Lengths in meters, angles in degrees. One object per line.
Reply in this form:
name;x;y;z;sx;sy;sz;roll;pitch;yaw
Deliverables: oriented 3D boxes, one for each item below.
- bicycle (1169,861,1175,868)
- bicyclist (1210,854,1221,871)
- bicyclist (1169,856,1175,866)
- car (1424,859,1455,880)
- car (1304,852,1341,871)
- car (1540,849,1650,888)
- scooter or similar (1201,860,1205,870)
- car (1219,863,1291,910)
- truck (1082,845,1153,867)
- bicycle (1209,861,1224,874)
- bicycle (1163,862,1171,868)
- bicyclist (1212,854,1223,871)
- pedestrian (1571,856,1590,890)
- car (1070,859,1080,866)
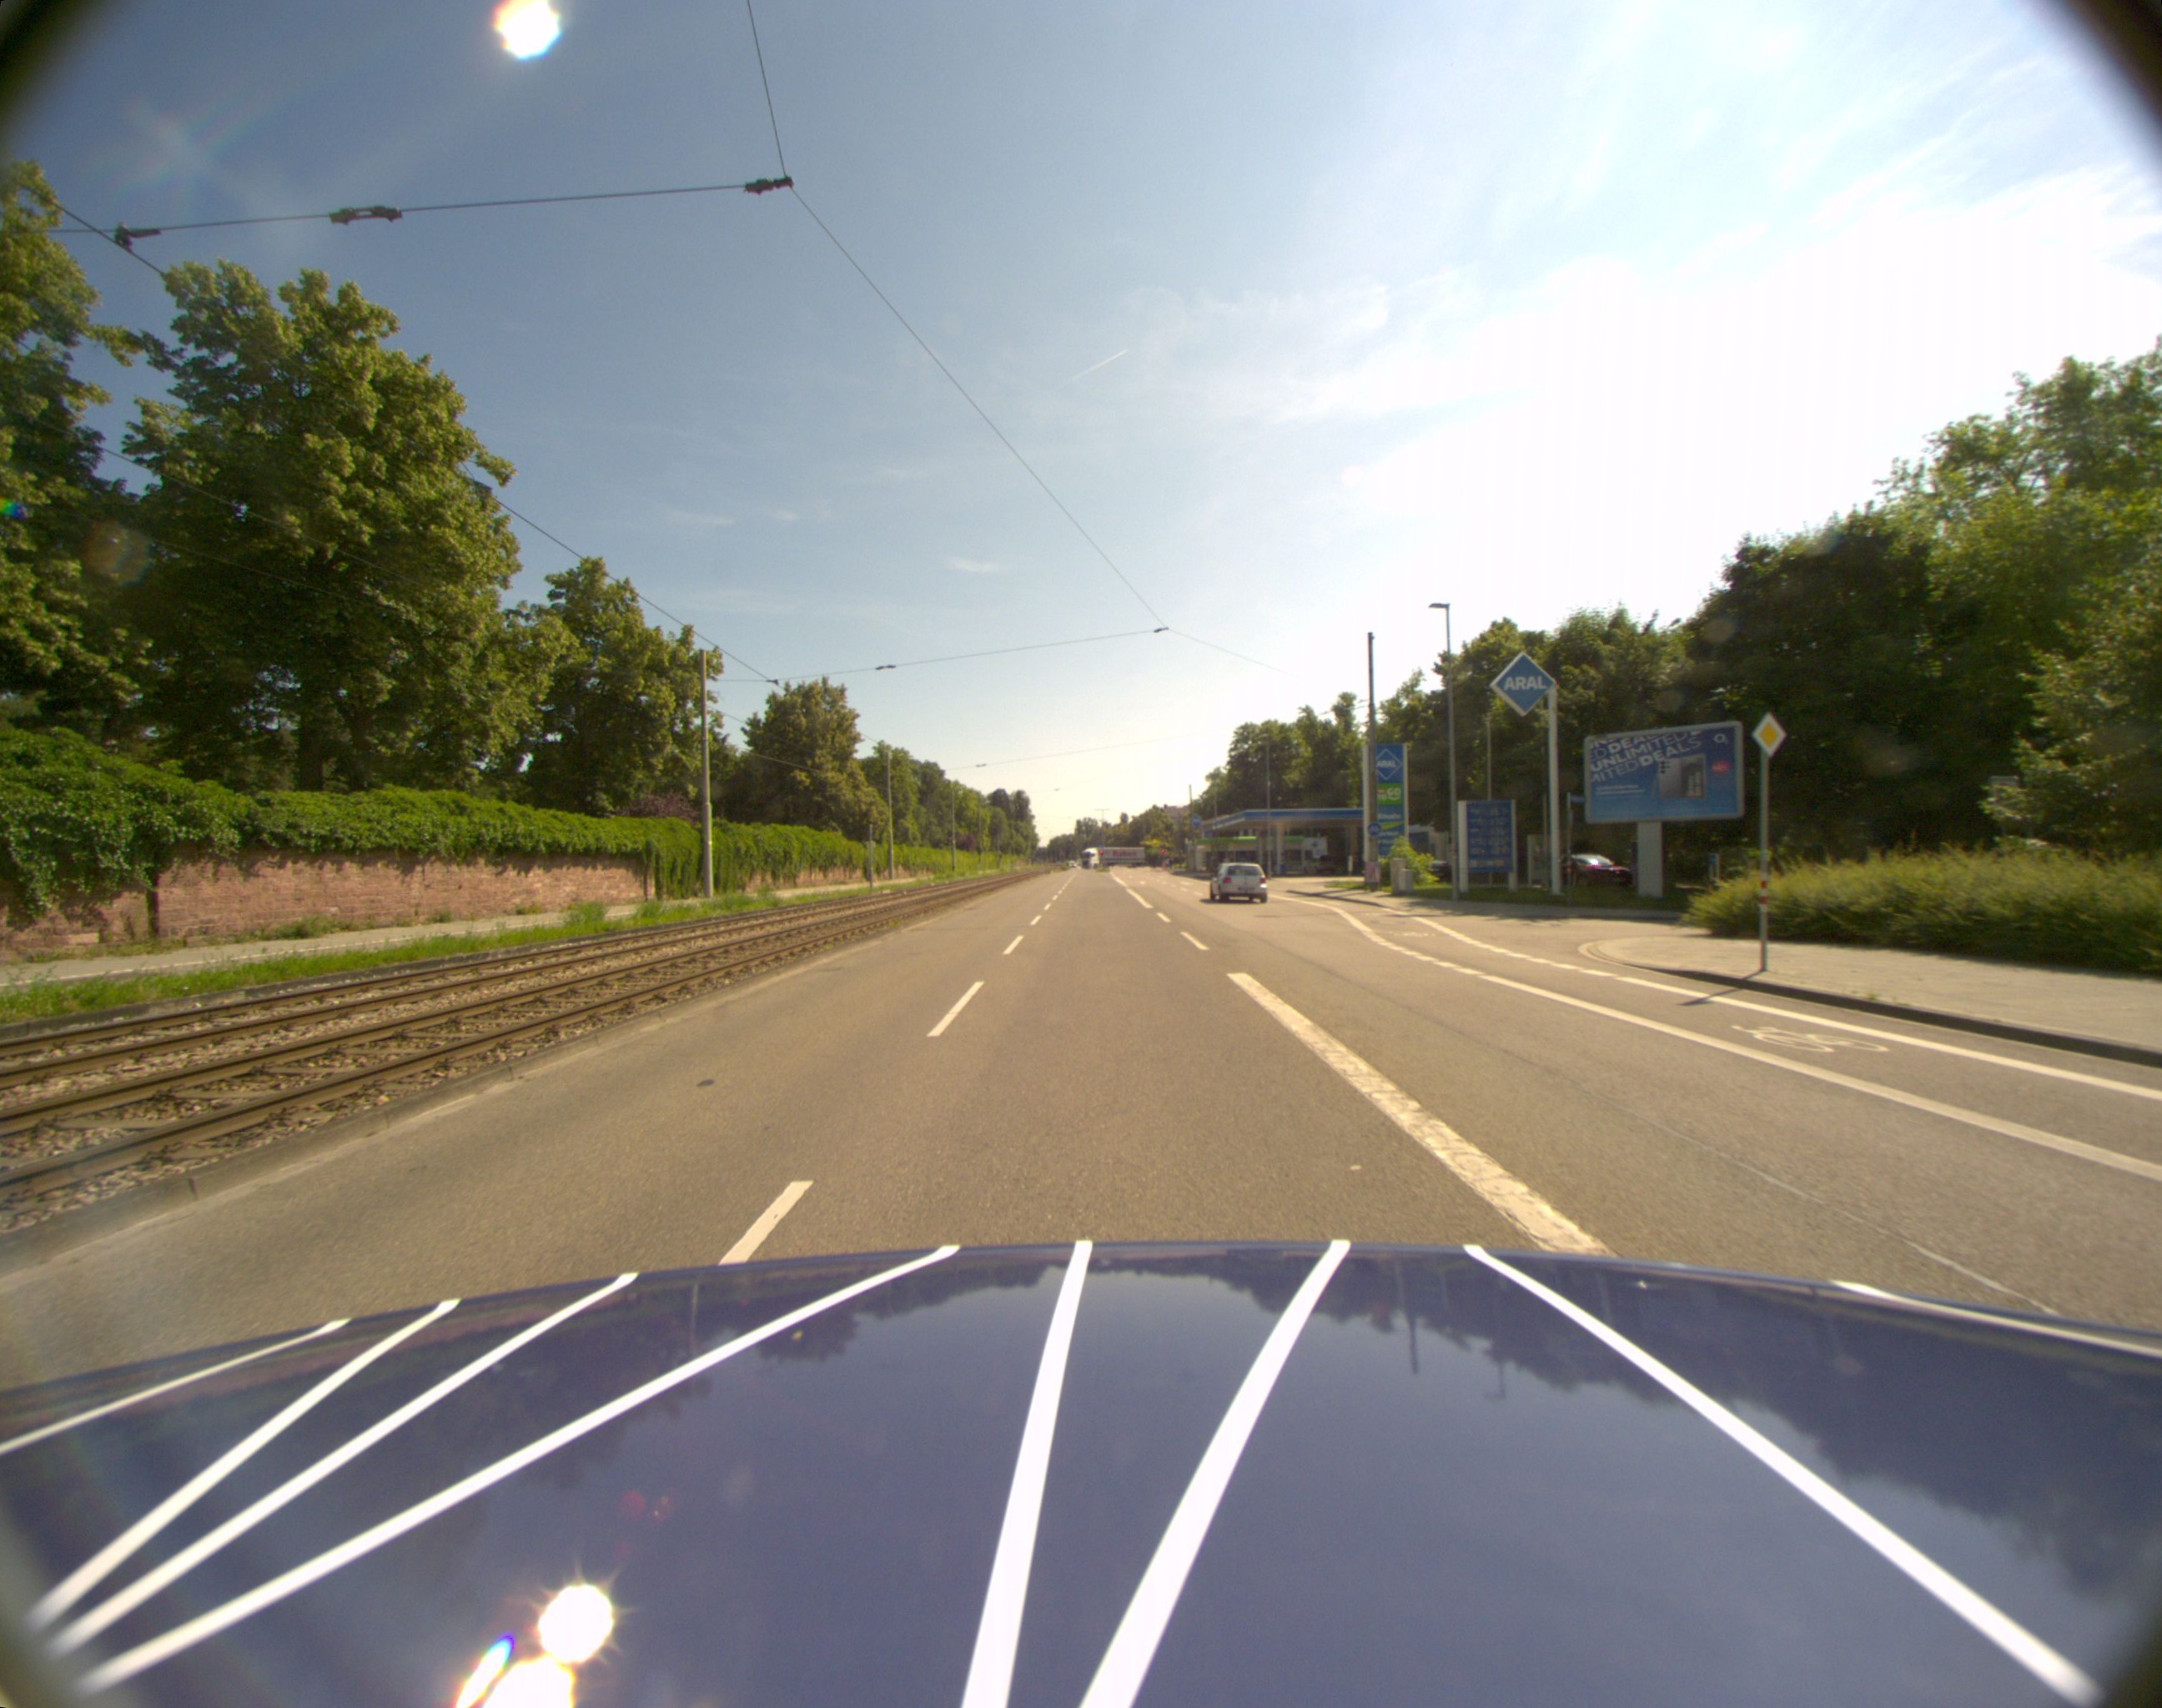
bicycle;15.321;1.694;127.893;0.939;1.168;2.211;-1;0;2
bicyclist;12.051;0.780;68.057;0.849;1.427;0.833;-2;-1;3
bicyclist;15.298;1.183;127.742;0.837;1.664;0.827;-2;-2;0
car;24.094;1.036;51.116;1.801;1.338;4.251;-1;0;24
car;24.175;0.770;76.302;1.848;1.771;5.965;-1;-1;0
car;22.538;0.660;33.565;1.804;1.560;4.519;-1;-2;1
scooter or similar;15.038;1.388;93.957;0.442;1.230;1.346;-1;0;11
car;5.824;1.046;25.846;1.662;1.412;4.311;1;0;3
truck;7.092;0.309;145.611;14.326;3.983;2.848;-1;0;-29
bicycle;12.022;1.196;67.363;0.827;1.088;2.772;0;0;0
bicycle;14.224;1.781;126.127;0.753;1.051;2.074;-1;0;-8
bicyclist;12.074;0.743;67.197;0.849;1.427;0.833;-1;-2;3
pedestrian;21.757;0.825;33.094;0.500;1.472;0.500;-1;0;1
car;-1.270;1.878;168.433;1.931;1.593;4.467;-2;0;-3
